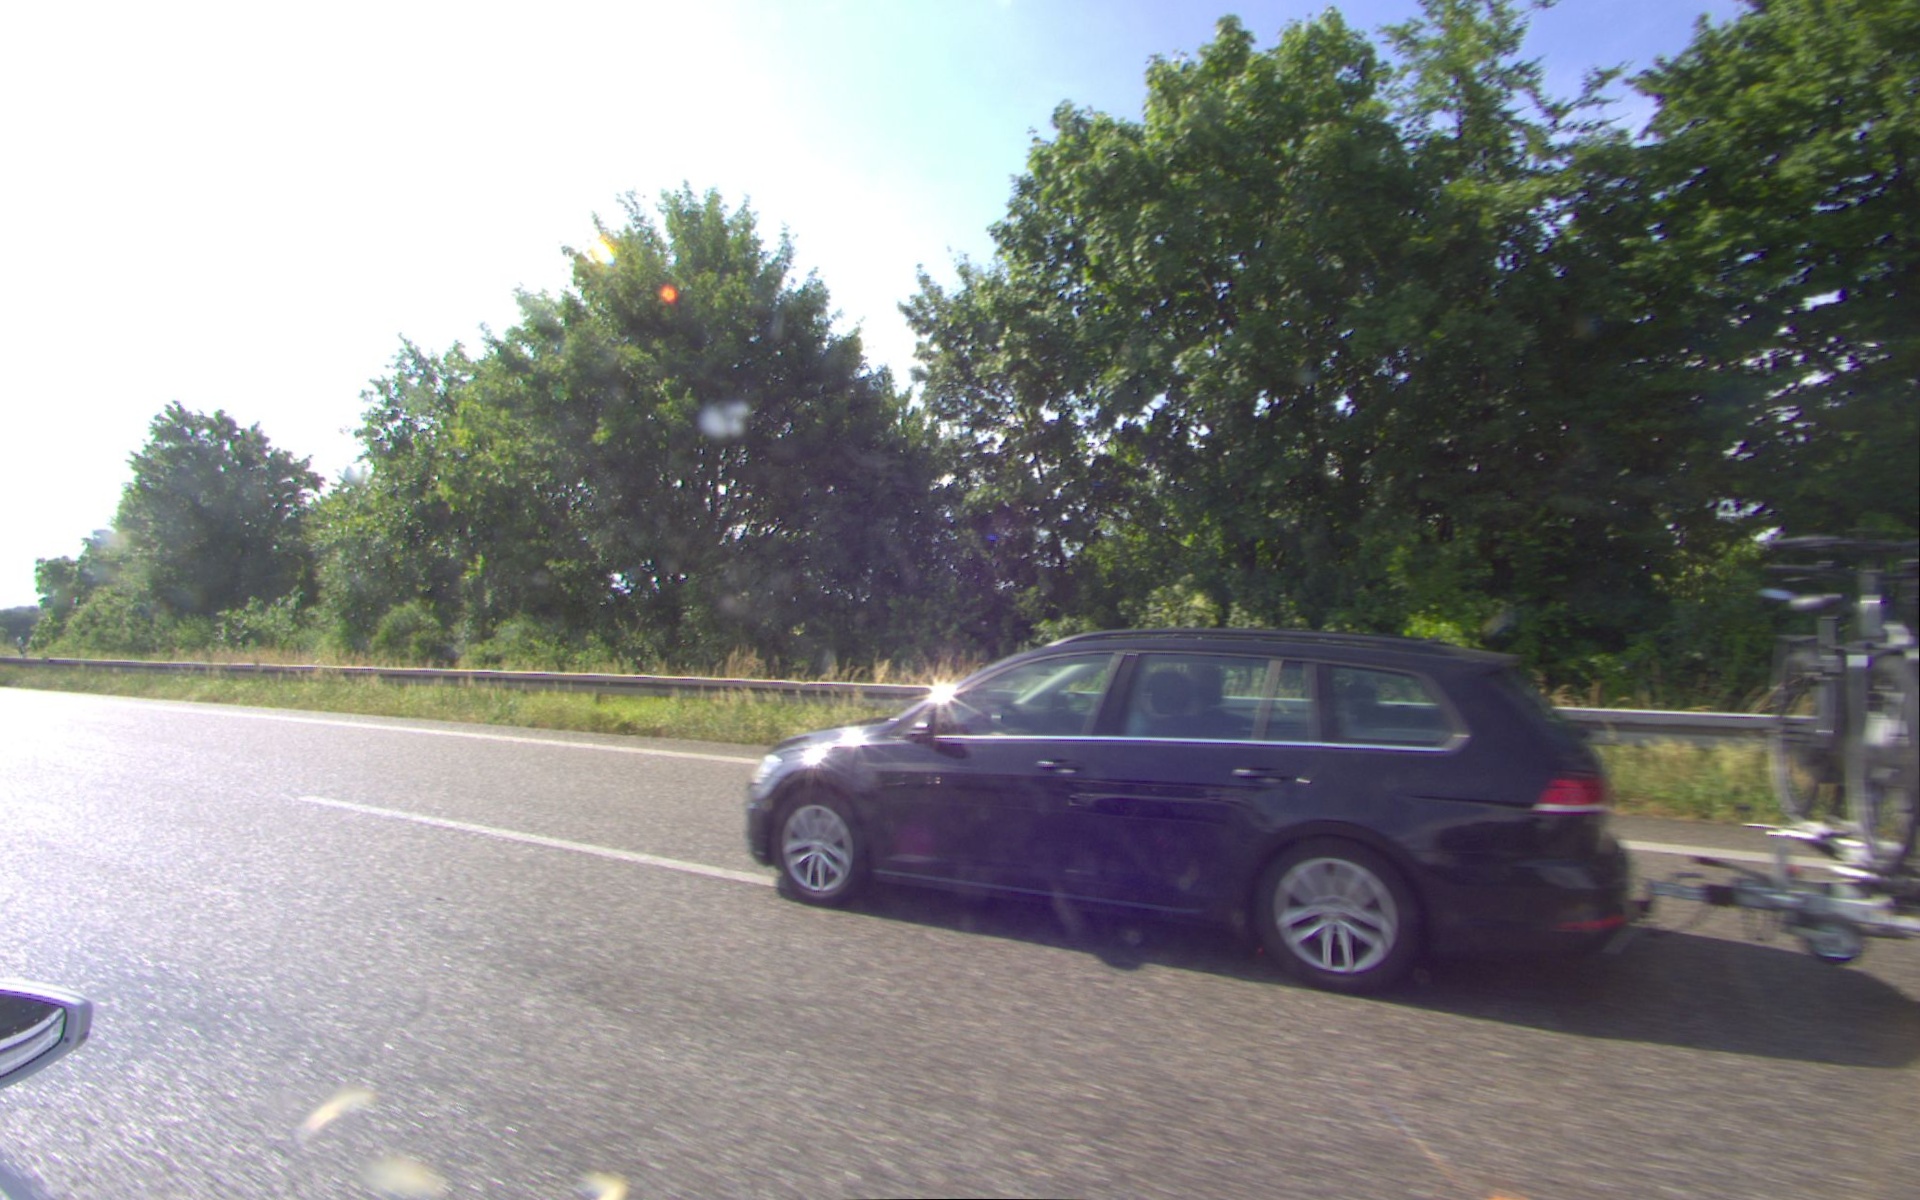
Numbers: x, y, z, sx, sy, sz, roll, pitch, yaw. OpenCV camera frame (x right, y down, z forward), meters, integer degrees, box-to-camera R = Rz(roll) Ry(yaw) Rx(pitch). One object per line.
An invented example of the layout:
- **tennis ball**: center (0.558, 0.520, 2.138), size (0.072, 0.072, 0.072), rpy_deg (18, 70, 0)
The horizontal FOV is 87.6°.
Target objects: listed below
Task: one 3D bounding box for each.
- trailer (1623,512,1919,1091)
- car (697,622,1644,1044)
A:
- **trailer**: center (4.561, 0.630, 3.202), size (3.907, 1.768, 1.805), rpy_deg (-1, -2, 29)
- **car**: center (0.856, 0.851, 5.258), size (4.337, 1.449, 1.742), rpy_deg (-1, -1, 29)
